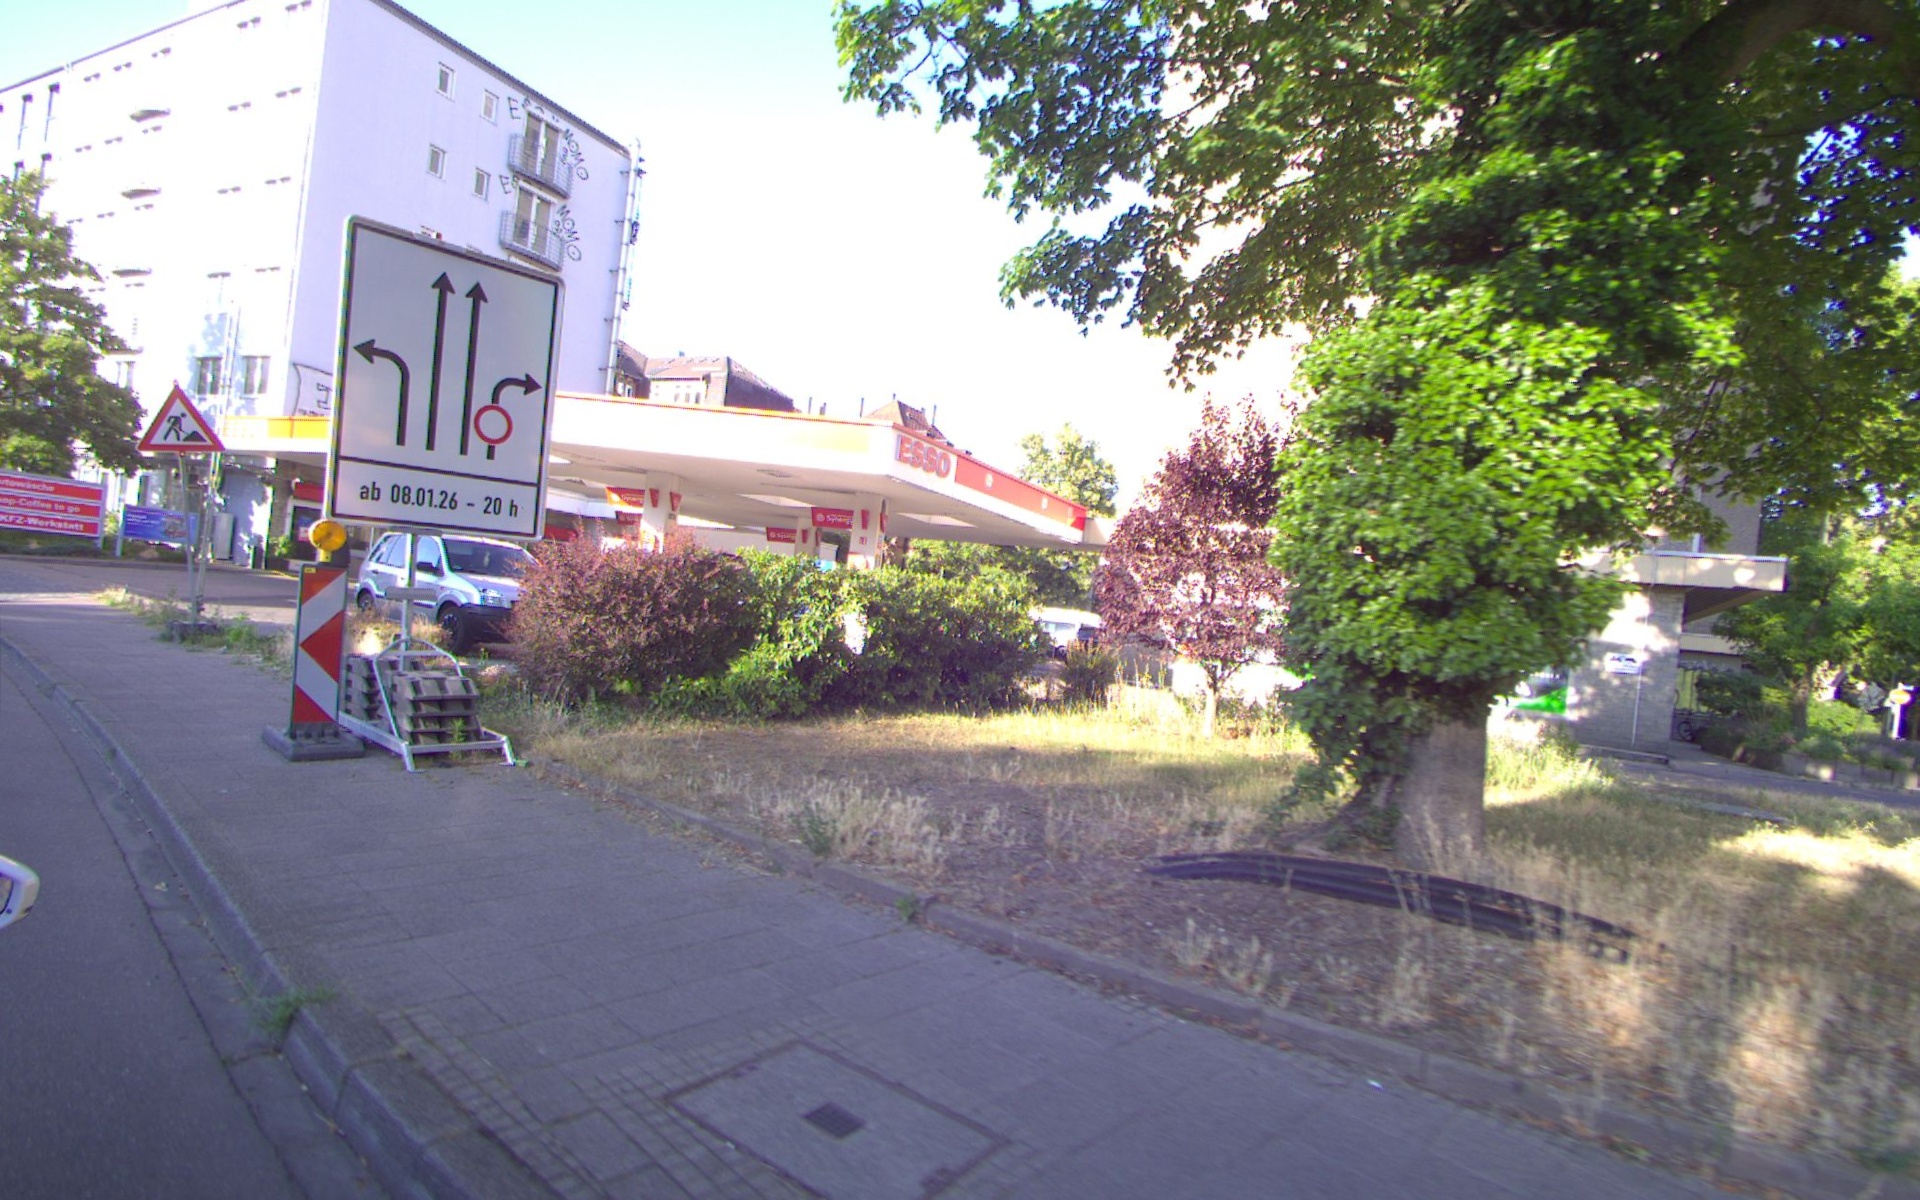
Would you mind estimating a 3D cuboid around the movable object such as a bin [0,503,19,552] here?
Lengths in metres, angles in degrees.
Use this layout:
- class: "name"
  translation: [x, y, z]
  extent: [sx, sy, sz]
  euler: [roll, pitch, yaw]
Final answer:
- class: "movable object such as a bin"
  translation: [-29.626, -2.291, 30.278]
  extent: [0.850, 1.427, 1.611]
  euler: [6, -1, 30]

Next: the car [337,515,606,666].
- class: "car"
  translation: [-6.649, -0.170, 13.548]
  extent: [3.836, 1.613, 1.619]
  euler: [6, -1, 38]

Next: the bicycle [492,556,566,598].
- class: "bicycle"
  translation: [-16.565, -0.867, 38.774]
  extent: [0.518, 1.330, 2.809]
  euler: [6, -1, 29]

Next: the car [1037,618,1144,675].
- class: "car"
  translation: [4.275, 1.526, 32.400]
  extent: [1.966, 1.466, 3.995]
  euler: [6, -1, 29]

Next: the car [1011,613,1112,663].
- class: "car"
  translation: [4.895, 1.839, 48.621]
  extent: [4.222, 1.866, 1.997]
  euler: [6, -1, 30]

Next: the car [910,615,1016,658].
- class: "car"
  translation: [0.117, 1.572, 43.715]
  extent: [4.184, 1.312, 1.748]
  euler: [6, -1, 30]
